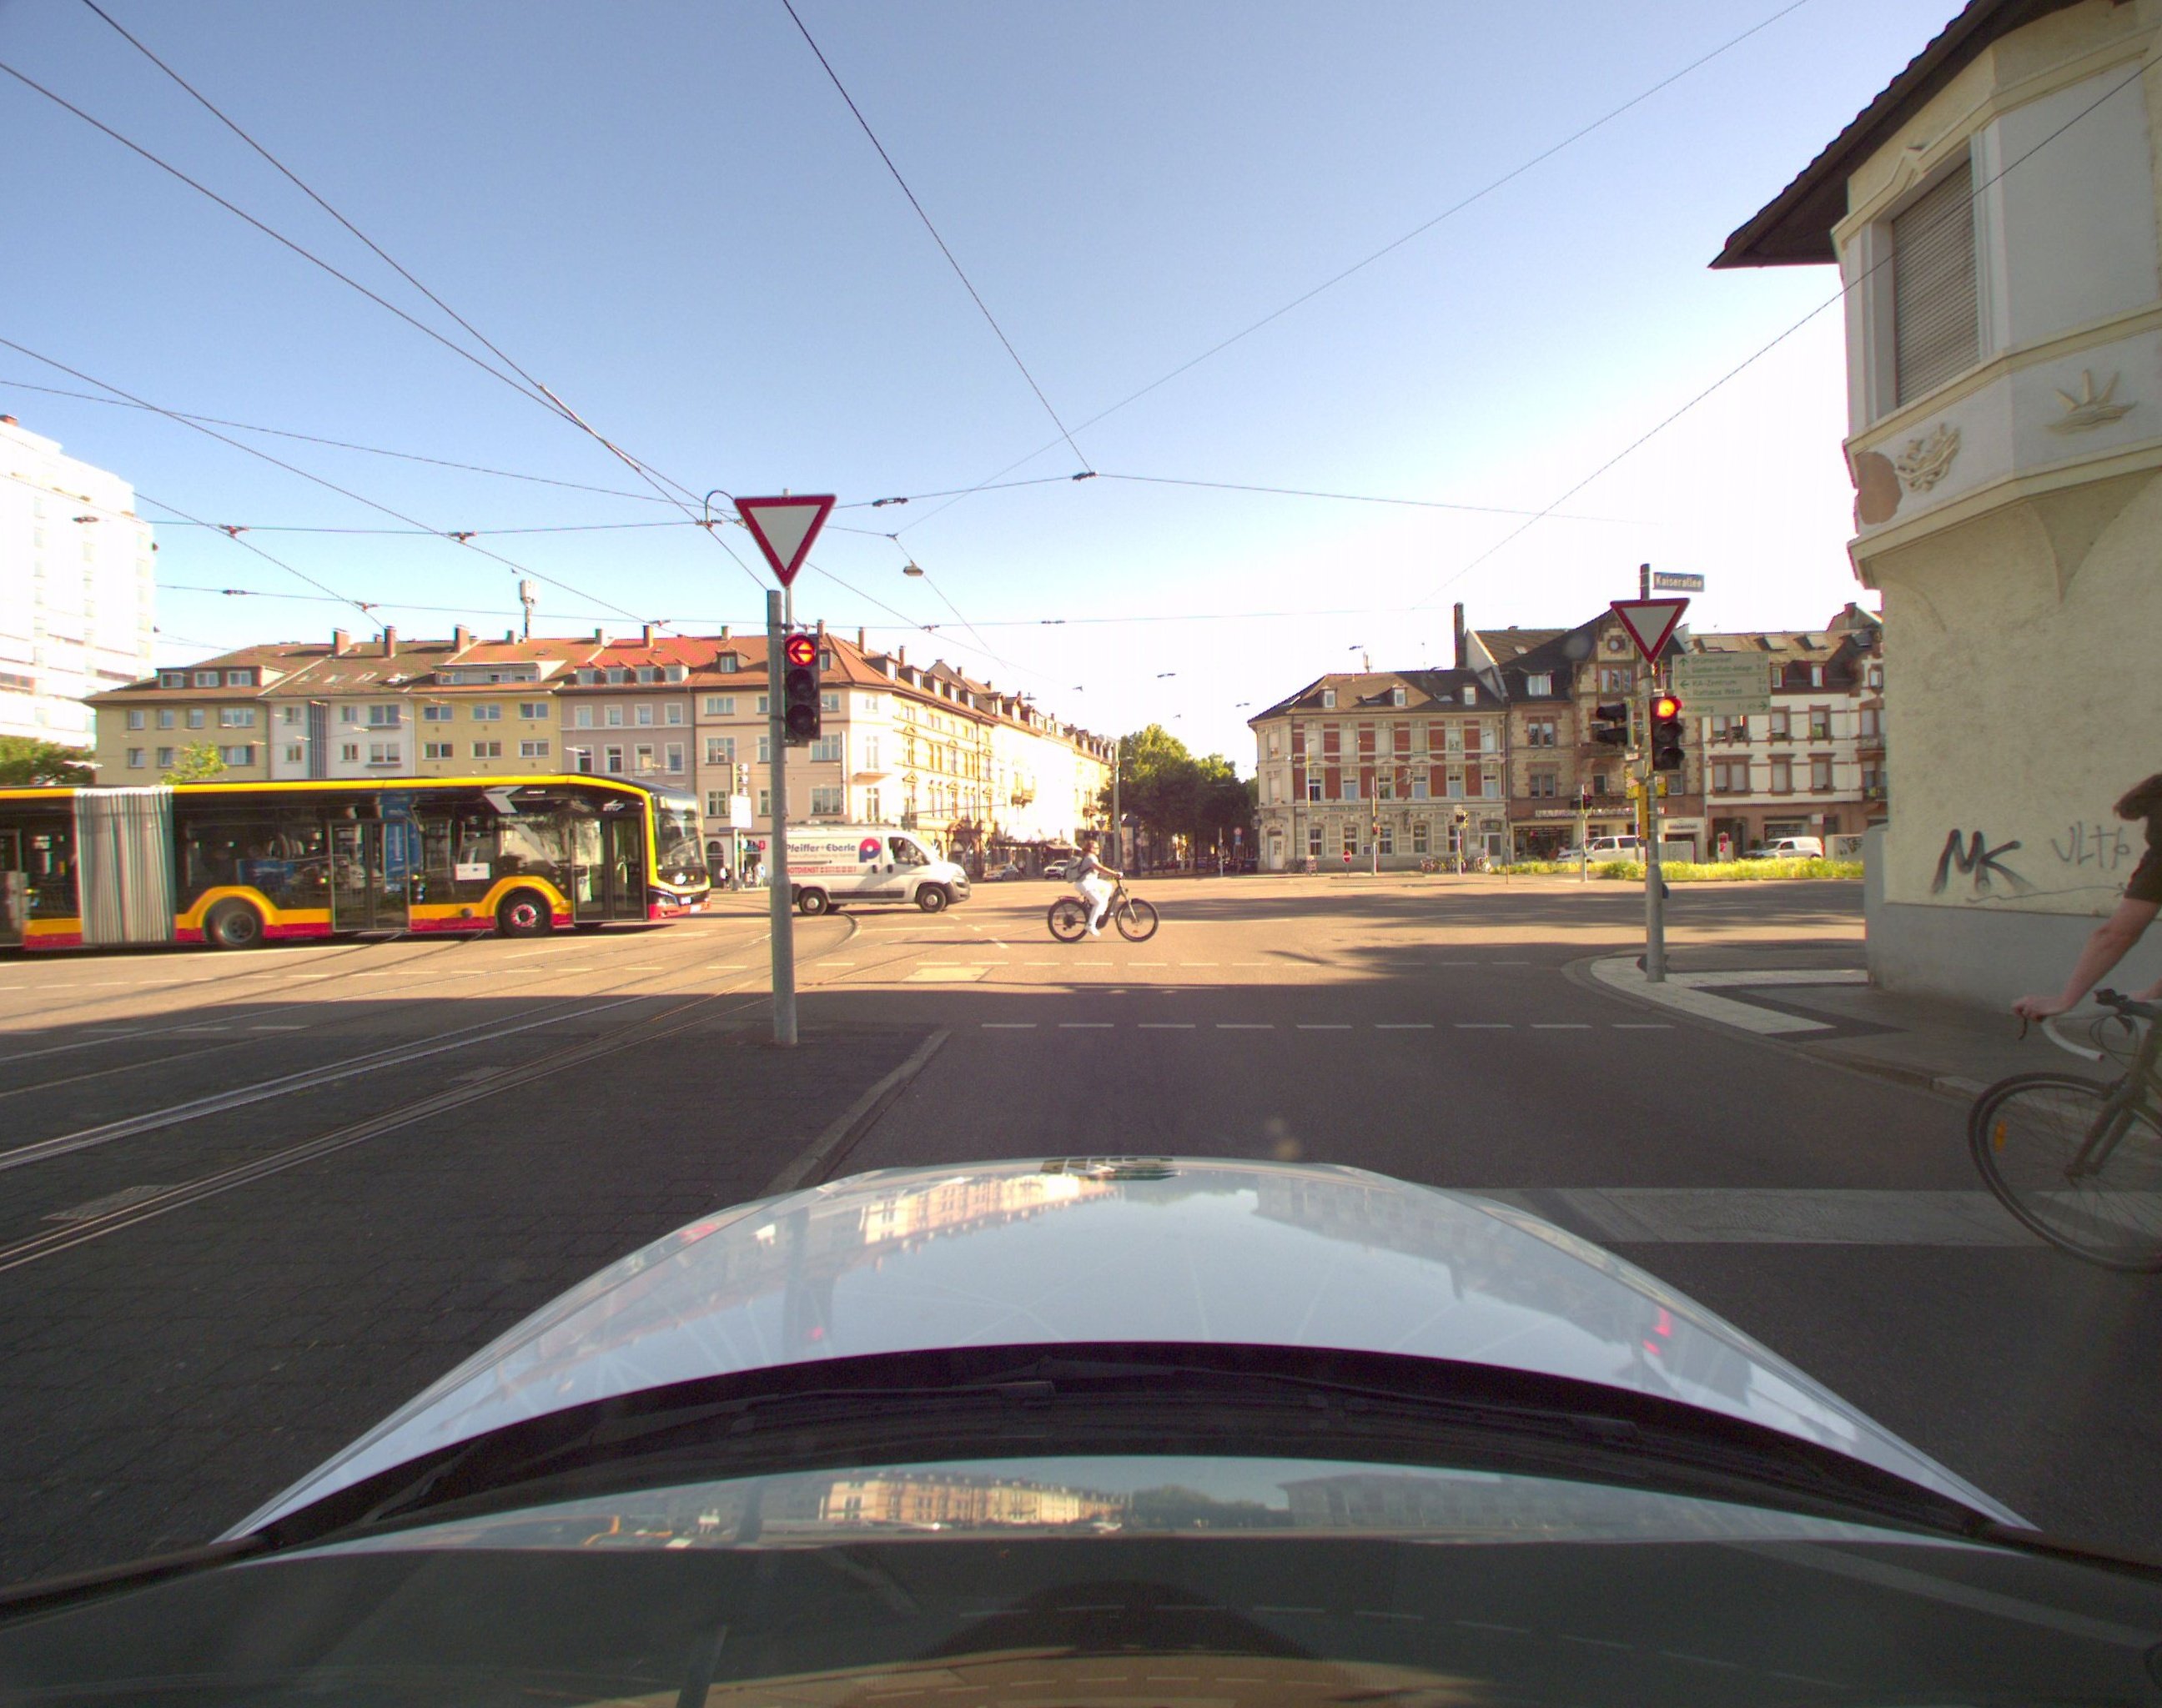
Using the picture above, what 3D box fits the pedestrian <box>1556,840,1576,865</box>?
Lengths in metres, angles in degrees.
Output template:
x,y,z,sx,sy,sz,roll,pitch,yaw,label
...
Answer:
x,y,z,sx,sy,sz,roll,pitch,yaw,label
33.228,-0.075,55.774,1.029,1.712,0.631,-1,-1,10,pedestrian

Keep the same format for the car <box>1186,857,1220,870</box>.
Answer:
x,y,z,sx,sy,sz,roll,pitch,yaw,label
14.960,1.157,99.504,3.959,1.454,1.687,-1,0,13,car

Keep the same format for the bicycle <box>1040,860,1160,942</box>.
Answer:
x,y,z,sx,sy,sz,roll,pitch,yaw,label
0.310,0.760,13.521,1.934,1.299,0.623,-1,0,0,bicycle

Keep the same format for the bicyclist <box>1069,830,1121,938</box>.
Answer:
x,y,z,sx,sy,sz,roll,pitch,yaw,label
0.231,0.482,13.489,0.796,1.715,0.734,-1,0,0,bicyclist

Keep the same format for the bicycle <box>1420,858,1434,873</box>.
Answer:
x,y,z,sx,sy,sz,roll,pitch,yaw,label
22.481,0.733,52.974,0.483,0.914,1.789,-1,0,12,bicycle

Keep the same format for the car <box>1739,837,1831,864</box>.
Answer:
x,y,z,sx,sy,sz,roll,pitch,yaw,label
45.291,-0.240,52.479,4.239,1.622,1.999,-1,0,-1,car

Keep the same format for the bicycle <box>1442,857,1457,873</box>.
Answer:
x,y,z,sx,sy,sz,roll,pitch,yaw,label
23.853,0.685,52.752,0.483,1.020,1.789,-1,0,12,bicycle

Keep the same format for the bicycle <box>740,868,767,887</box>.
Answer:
x,y,z,sx,sy,sz,roll,pitch,yaw,label
-23.052,1.649,57.334,1.714,1.276,0.385,-1,0,-16,bicycle

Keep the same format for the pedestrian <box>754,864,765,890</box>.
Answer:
x,y,z,sx,sy,sz,roll,pitch,yaw,label
-15.905,1.132,40.284,0.364,1.253,0.449,-1,0,-10,pedestrian

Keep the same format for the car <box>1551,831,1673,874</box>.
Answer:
x,y,z,sx,sy,sz,roll,pitch,yaw,label
27.229,-0.085,41.888,4.962,2.013,2.001,-1,0,1,car

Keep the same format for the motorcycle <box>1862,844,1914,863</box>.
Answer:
x,y,z,sx,sy,sz,roll,pitch,yaw,label
41.056,-0.014,41.429,2.033,0.897,0.562,-1,0,1,motorcycle

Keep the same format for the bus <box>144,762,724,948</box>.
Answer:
x,y,z,sx,sy,sz,roll,pitch,yaw,label
-12.818,-0.025,16.936,9.395,3.457,2.775,0,1,-5,bus

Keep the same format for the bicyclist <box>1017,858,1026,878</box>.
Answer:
x,y,z,sx,sy,sz,roll,pitch,yaw,label
-4.769,1.092,65.466,0.486,1.601,0.668,-1,0,12,bicyclist

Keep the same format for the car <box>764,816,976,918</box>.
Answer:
x,y,z,sx,sy,sz,roll,pitch,yaw,label
-5.444,0.312,21.686,5.103,2.432,2.077,-2,-1,-6,car

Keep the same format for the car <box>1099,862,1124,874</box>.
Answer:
x,y,z,sx,sy,sz,roll,pitch,yaw,label
3.829,1.712,102.171,1.977,1.404,4.189,-1,0,18,car

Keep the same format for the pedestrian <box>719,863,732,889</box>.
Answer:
x,y,z,sx,sy,sz,roll,pitch,yaw,label
-23.076,1.405,52.927,0.744,1.682,0.623,-1,0,-23,pedestrian

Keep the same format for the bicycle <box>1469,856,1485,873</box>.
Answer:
x,y,z,sx,sy,sz,roll,pitch,yaw,label
25.627,0.672,52.760,0.483,1.020,1.789,-1,0,12,bicycle

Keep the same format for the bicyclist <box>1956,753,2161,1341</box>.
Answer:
x,y,z,sx,sy,sz,roll,pitch,yaw,label
3.558,0.575,2.496,0.649,1.767,0.995,-1,0,2,bicyclist

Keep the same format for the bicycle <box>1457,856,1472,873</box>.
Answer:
x,y,z,sx,sy,sz,roll,pitch,yaw,label
24.816,0.678,52.711,0.483,1.020,1.789,-1,0,12,bicycle

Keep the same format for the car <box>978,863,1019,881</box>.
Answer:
x,y,z,sx,sy,sz,roll,pitch,yaw,label
-6.760,1.475,67.359,1.977,1.361,3.836,-1,0,18,car

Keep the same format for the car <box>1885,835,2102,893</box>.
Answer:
x,y,z,sx,sy,sz,roll,pitch,yaw,label
24.022,0.239,21.511,4.264,1.381,1.642,-1,0,-6,car

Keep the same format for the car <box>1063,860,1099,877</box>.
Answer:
x,y,z,sx,sy,sz,roll,pitch,yaw,label
0.029,1.310,73.802,1.977,1.404,4.189,-1,0,18,car

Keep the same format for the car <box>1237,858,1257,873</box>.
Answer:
x,y,z,sx,sy,sz,roll,pitch,yaw,label
16.798,1.133,82.290,1.742,1.420,4.016,-1,0,14,car

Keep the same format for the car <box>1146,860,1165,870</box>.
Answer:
x,y,z,sx,sy,sz,roll,pitch,yaw,label
11.197,1.690,122.497,1.977,1.404,4.189,-1,0,18,car

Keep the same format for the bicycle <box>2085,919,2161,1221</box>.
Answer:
x,y,z,sx,sy,sz,roll,pitch,yaw,label
4.503,0.857,2.484,0.568,1.165,1.890,-1,0,2,bicycle

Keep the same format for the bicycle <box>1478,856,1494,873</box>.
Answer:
x,y,z,sx,sy,sz,roll,pitch,yaw,label
26.332,0.669,52.915,0.483,1.020,1.789,-1,0,12,bicycle

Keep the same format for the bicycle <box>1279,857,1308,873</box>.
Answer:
x,y,z,sx,sy,sz,roll,pitch,yaw,label
14.912,0.751,57.136,1.940,1.054,0.717,-1,0,11,bicycle

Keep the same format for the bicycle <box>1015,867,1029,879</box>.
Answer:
x,y,z,sx,sy,sz,roll,pitch,yaw,label
-4.764,1.530,65.564,0.650,1.000,1.671,-1,-1,14,bicycle

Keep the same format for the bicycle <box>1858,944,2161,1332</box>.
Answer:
x,y,z,sx,sy,sz,roll,pitch,yaw,label
3.560,0.918,2.498,0.568,1.058,1.890,-1,0,2,bicycle

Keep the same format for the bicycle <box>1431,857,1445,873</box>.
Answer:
x,y,z,sx,sy,sz,roll,pitch,yaw,label
23.158,0.723,52.871,0.483,1.020,1.789,-1,0,12,bicycle

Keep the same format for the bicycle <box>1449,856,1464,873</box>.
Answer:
x,y,z,sx,sy,sz,roll,pitch,yaw,label
24.313,0.682,52.803,0.483,1.020,1.789,-1,0,12,bicycle

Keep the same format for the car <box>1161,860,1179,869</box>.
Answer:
x,y,z,sx,sy,sz,roll,pitch,yaw,label
14.327,1.711,131.256,1.977,1.404,4.189,-1,0,18,car

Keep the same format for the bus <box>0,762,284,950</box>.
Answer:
x,y,z,sx,sy,sz,roll,pitch,yaw,label
-21.755,0.024,16.190,8.597,3.457,2.783,0,1,-4,bus

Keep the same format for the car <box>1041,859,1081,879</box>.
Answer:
x,y,z,sx,sy,sz,roll,pitch,yaw,label
-1.591,1.216,67.665,1.977,1.516,4.189,-1,0,18,car

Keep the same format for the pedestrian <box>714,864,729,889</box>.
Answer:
x,y,z,sx,sy,sz,roll,pitch,yaw,label
-24.793,1.544,56.214,0.623,1.682,0.744,-1,0,4,pedestrian

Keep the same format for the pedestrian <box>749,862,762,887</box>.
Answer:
x,y,z,sx,sy,sz,roll,pitch,yaw,label
-22.275,1.421,55.739,0.744,1.682,0.623,-1,0,-23,pedestrian

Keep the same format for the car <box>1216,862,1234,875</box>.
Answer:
x,y,z,sx,sy,sz,roll,pitch,yaw,label
16.327,1.599,92.107,1.705,1.300,4.089,-1,0,14,car

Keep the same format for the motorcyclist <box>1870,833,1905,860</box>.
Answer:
x,y,z,sx,sy,sz,roll,pitch,yaw,label
41.051,-0.376,41.441,0.999,1.355,0.744,-1,0,1,motorcyclist

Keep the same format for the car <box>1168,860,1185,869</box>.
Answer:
x,y,z,sx,sy,sz,roll,pitch,yaw,label
16.026,1.740,136.415,1.977,1.404,4.189,-1,0,18,car

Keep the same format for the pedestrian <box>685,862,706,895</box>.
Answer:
x,y,z,sx,sy,sz,roll,pitch,yaw,label
-19.952,1.252,42.191,0.738,1.682,0.628,-1,0,1,pedestrian

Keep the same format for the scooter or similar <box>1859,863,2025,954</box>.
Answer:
x,y,z,sx,sy,sz,roll,pitch,yaw,label
10.719,0.661,10.166,1.426,1.043,0.565,-2,0,1,scooter or similar
